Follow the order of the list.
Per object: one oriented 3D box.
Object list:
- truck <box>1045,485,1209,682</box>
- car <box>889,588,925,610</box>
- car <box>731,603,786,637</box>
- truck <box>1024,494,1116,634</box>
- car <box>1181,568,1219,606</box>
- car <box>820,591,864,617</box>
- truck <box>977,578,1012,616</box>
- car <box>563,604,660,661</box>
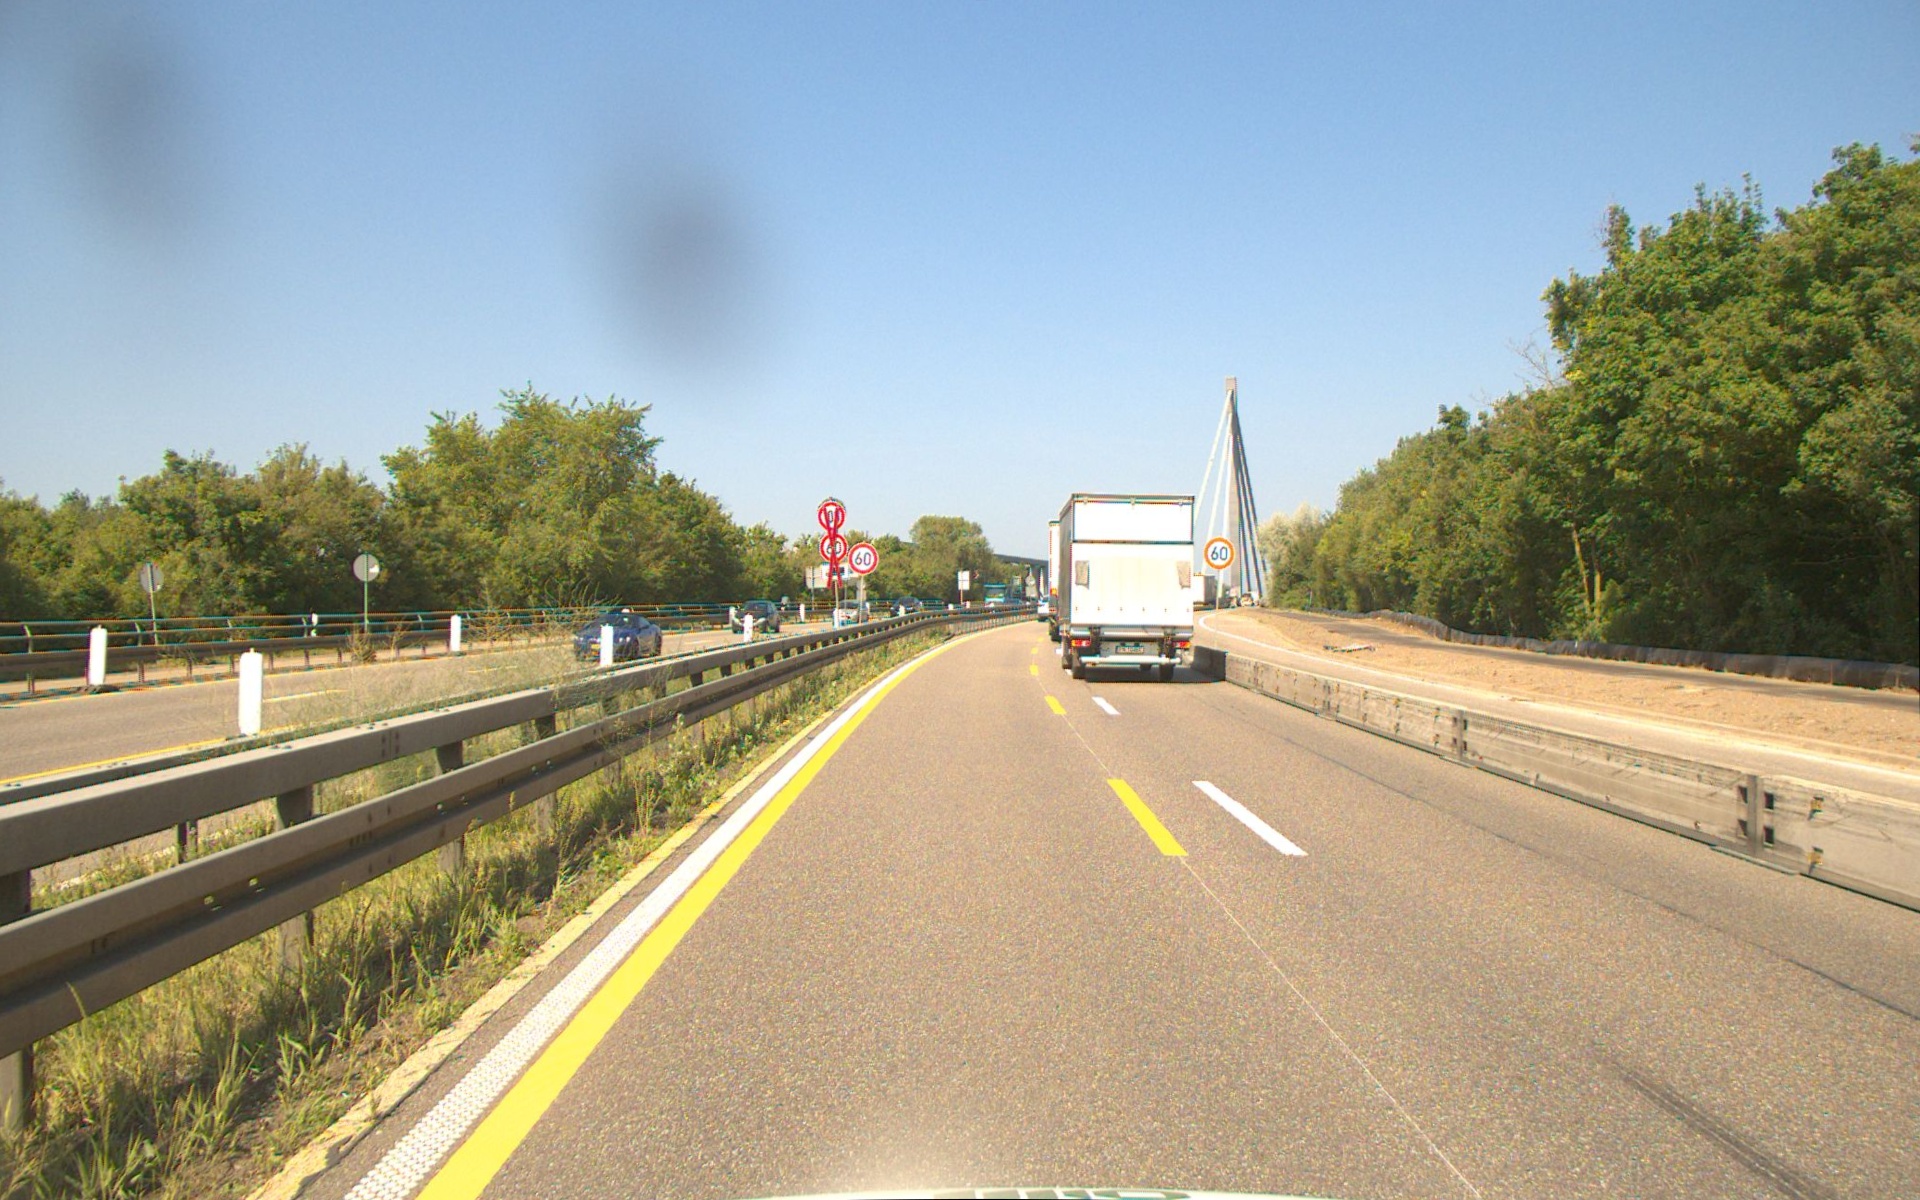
[{"bbox_3d":[3.186,-0.318,33.365,2.580,3.487,7.233,1,0,0],"label":"truck"},{"bbox_3d":[-4.099,-0.086,128.118,1.951,1.579,4.004,-1,0,10],"label":"car"},{"bbox_3d":[-10.055,0.983,82.904,1.951,1.579,4.002,-1,0,5],"label":"car"},{"bbox_3d":[3.773,-1.204,58.018,2.581,4.547,7.232,1,0,-1],"label":"truck"},{"bbox_3d":[28.496,-1.599,196.949,4.118,4.325,10.671,-2,1,7],"label":"car"},{"bbox_3d":[-7.374,0.218,103.760,1.951,1.579,4.003,-1,0,7],"label":"car"},{"bbox_3d":[3.637,-0.344,173.638,2.454,3.676,6.199,-2,1,12],"label":"truck"},{"bbox_3d":[-10.486,0.959,50.043,1.952,1.579,4.001,-1,0,1],"label":"car"}]
